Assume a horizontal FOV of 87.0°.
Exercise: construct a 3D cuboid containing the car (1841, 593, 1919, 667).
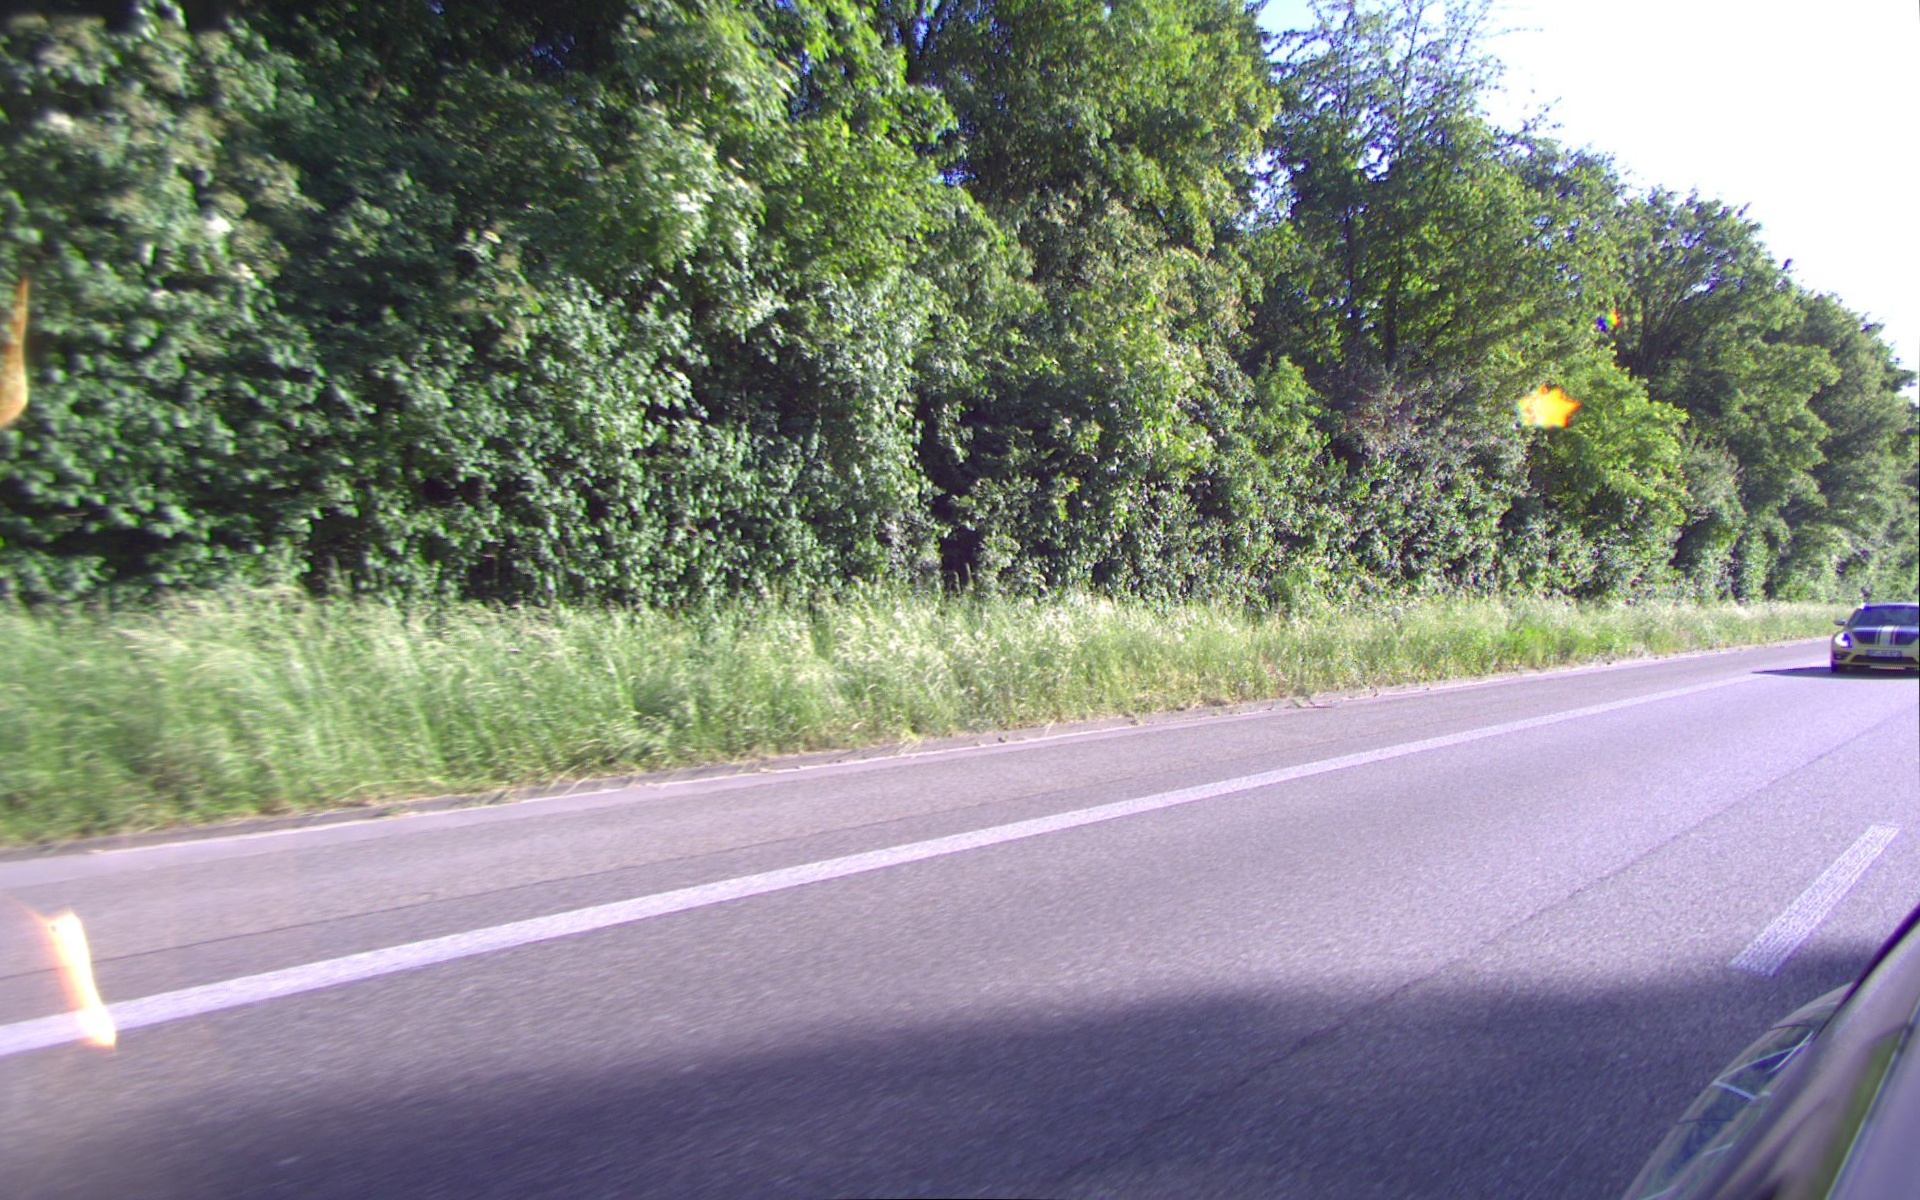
[{"bbox_3d":[20.157,0.583,21.437,3.811,1.467,1.793,0,0,-42],"label":"car"}]
